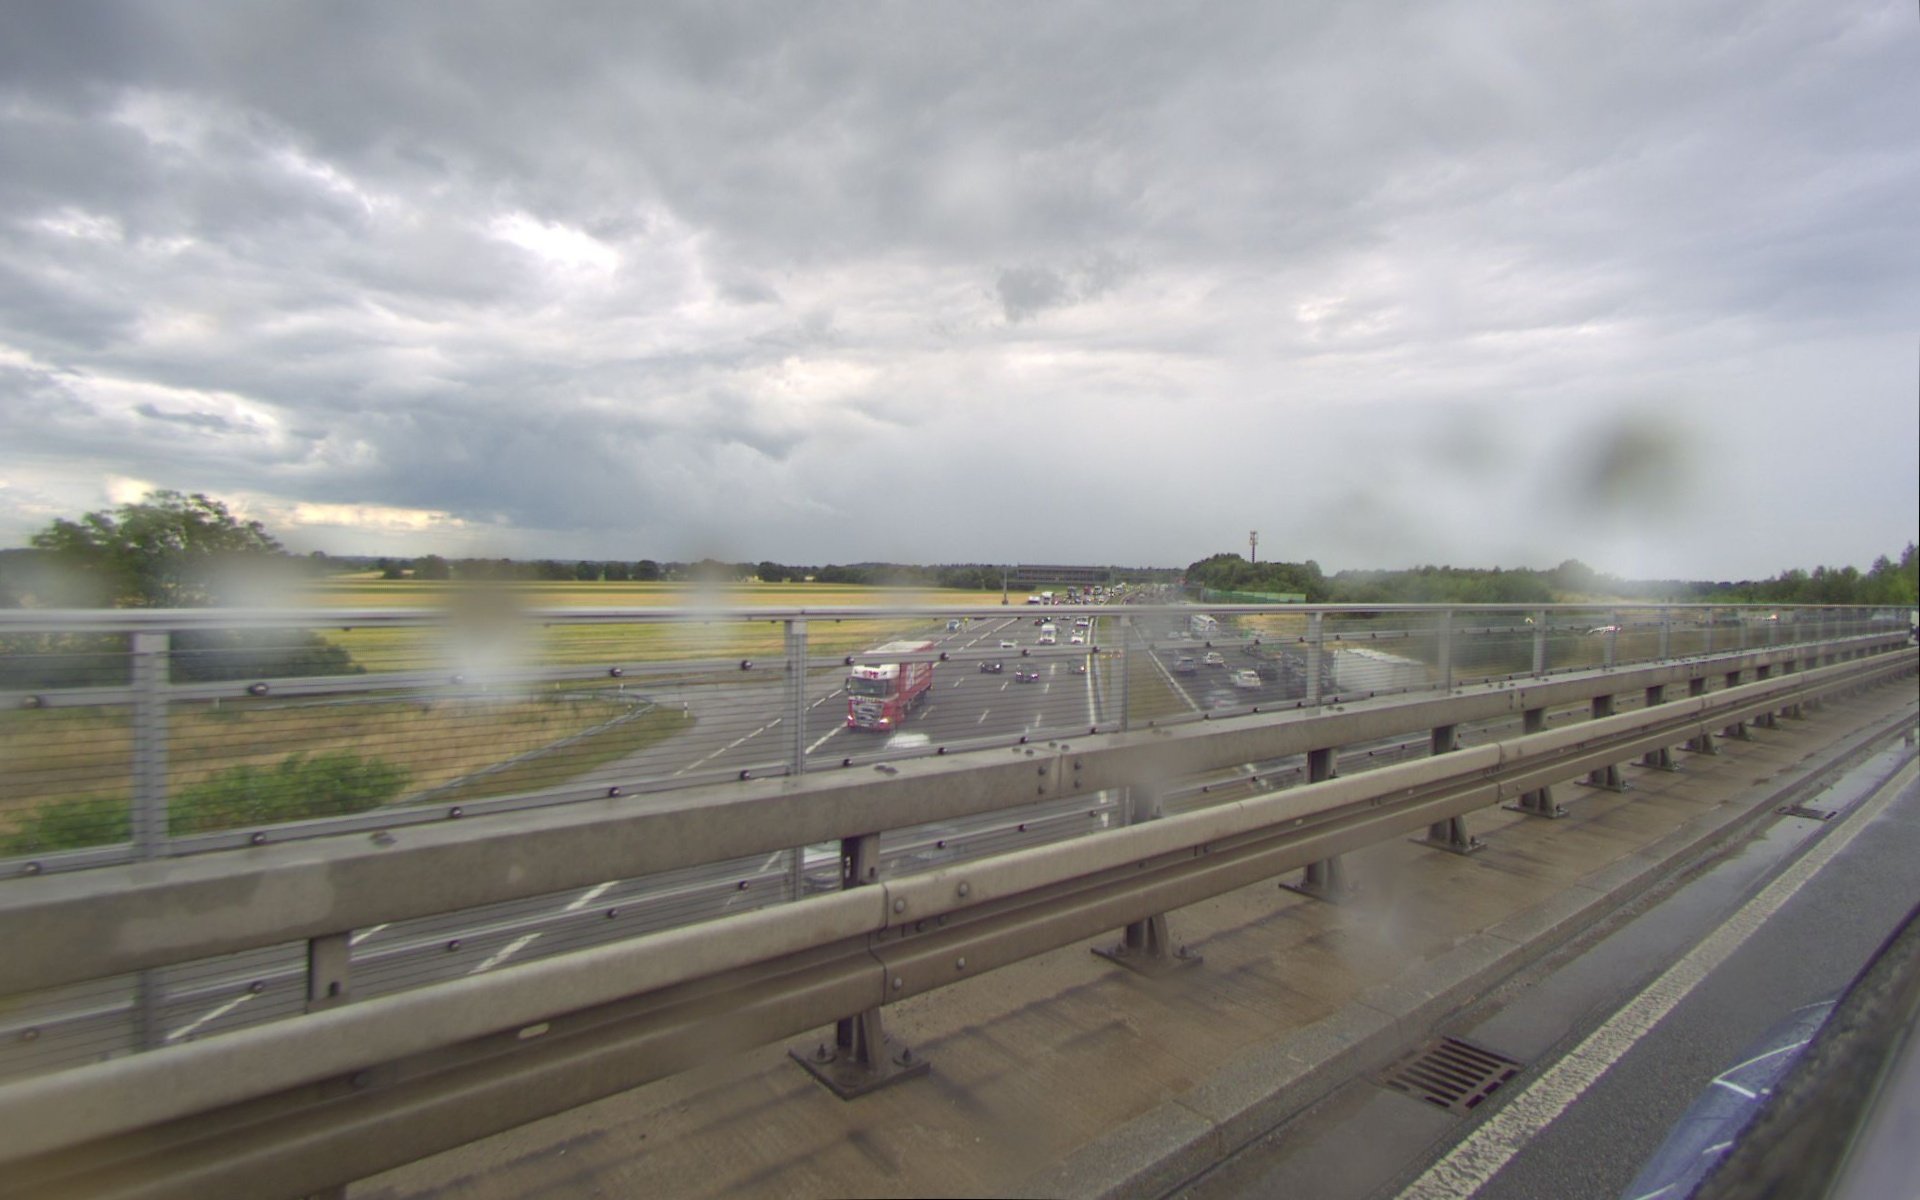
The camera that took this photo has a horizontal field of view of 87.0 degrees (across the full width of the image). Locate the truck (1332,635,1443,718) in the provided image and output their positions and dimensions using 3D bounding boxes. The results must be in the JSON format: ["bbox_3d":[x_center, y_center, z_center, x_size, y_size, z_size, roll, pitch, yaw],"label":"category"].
[{"bbox_3d":[30.000,5.129,72.036,3.545,4.594,15.590,0,0,9],"label":"truck"}]

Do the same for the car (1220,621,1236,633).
[{"bbox_3d":[42.508,4.317,160.644,1.826,1.797,4.713,0,0,8],"label":"car"}]

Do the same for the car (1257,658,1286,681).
[{"bbox_3d":[28.236,6.316,91.880,1.826,1.690,4.713,0,0,8],"label":"car"}]

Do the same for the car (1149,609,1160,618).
[{"bbox_3d":[39.626,2.765,206.410,1.826,1.797,4.713,0,0,8],"label":"car"}]

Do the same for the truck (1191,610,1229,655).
[{"bbox_3d":[34.406,4.297,139.800,3.241,5.511,15.597,0,0,7],"label":"truck"}]

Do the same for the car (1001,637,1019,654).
[{"bbox_3d":[5.795,5.263,116.800,1.784,1.690,4.714,0,0,8],"label":"car"}]

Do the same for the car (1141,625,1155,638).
[{"bbox_3d":[27.171,4.550,146.606,1.826,1.797,4.713,0,0,8],"label":"car"}]

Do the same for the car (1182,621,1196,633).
[{"bbox_3d":[36.888,4.333,162.969,1.826,1.797,4.713,0,0,8],"label":"car"}]

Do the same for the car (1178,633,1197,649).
[{"bbox_3d":[28.106,5.037,125.106,1.826,1.797,4.713,0,0,8],"label":"car"}]

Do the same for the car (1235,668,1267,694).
[{"bbox_3d":[23.646,6.535,82.325,1.826,1.690,4.713,0,0,8],"label":"car"}]

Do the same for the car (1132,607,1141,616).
[{"bbox_3d":[39.227,2.586,224.974,1.826,1.797,4.713,0,0,8],"label":"car"}]

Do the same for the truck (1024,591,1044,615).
[{"bbox_3d":[16.206,0.533,220.824,2.750,4.961,12.713,0,0,11],"label":"truck"}]

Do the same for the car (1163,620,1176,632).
[{"bbox_3d":[35.021,4.289,169.155,1.826,1.797,4.713,0,0,8],"label":"car"}]

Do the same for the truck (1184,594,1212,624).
[{"bbox_3d":[44.914,1.568,191.436,3.434,5.420,15.597,0,0,7],"label":"truck"}]

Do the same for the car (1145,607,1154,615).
[{"bbox_3d":[44.188,2.604,236.582,1.826,1.797,4.713,0,0,8],"label":"car"}]

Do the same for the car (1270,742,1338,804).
[{"bbox_3d":[14.318,7.153,42.337,1.826,1.690,4.713,0,0,8],"label":"car"}]

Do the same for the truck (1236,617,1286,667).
[{"bbox_3d":[35.463,4.784,119.963,3.241,5.230,15.597,0,0,7],"label":"truck"}]

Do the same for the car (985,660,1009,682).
[{"bbox_3d":[3.436,6.498,92.791,1.784,1.690,4.714,0,0,8],"label":"car"}]

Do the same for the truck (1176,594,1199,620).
[{"bbox_3d":[48.672,1.398,216.958,3.434,5.420,15.597,0,0,7],"label":"truck"}]

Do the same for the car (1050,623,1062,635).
[{"bbox_3d":[15.069,4.500,158.415,1.784,1.690,4.714,0,0,8],"label":"car"}]

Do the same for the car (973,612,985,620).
[{"bbox_3d":[3.604,2.987,188.619,1.783,1.454,4.715,0,0,7],"label":"car"}]

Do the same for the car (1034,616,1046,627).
[{"bbox_3d":[14.013,3.784,177.574,1.826,1.690,4.713,0,0,8],"label":"car"}]

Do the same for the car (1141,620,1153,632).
[{"bbox_3d":[30.810,4.334,166.780,1.826,1.797,4.713,0,0,8],"label":"car"}]

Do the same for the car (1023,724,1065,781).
[{"bbox_3d":[3.924,6.973,46.812,1.783,1.870,4.715,0,0,7],"label":"car"}]

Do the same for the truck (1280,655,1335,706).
[{"bbox_3d":[25.993,5.909,76.179,2.175,3.003,9.287,0,0,8],"label":"truck"}]

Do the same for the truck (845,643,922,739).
[{"bbox_3d":[-4.358,5.177,60.227,2.641,4.684,9.733,0,0,7],"label":"truck"}]

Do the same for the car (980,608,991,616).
[{"bbox_3d":[5.101,2.379,201.477,1.783,1.454,4.715,0,0,7],"label":"car"}]

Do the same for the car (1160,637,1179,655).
[{"bbox_3d":[23.593,5.178,114.116,1.826,1.690,4.713,0,0,8],"label":"car"}]

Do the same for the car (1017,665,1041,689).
[{"bbox_3d":[5.970,6.597,87.205,1.784,1.690,4.714,0,0,8],"label":"car"}]

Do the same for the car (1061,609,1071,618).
[{"bbox_3d":[21.509,2.686,205.427,1.826,1.690,4.713,0,0,8],"label":"car"}]

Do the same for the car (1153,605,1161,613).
[{"bbox_3d":[47.869,2.227,246.111,1.826,1.797,4.713,0,0,8],"label":"car"}]

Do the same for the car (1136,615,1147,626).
[{"bbox_3d":[32.431,3.588,180.697,1.826,1.797,4.713,0,0,8],"label":"car"}]

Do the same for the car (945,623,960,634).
[{"bbox_3d":[-1.130,4.233,152.320,1.783,1.454,4.715,0,0,7],"label":"car"}]

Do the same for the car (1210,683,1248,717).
[{"bbox_3d":[17.613,6.515,66.500,1.826,1.690,4.713,0,0,8],"label":"car"}]

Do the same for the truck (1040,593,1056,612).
[{"bbox_3d":[22.782,0.677,262.213,2.750,4.675,12.713,0,0,11],"label":"truck"}]

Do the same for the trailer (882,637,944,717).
[{"bbox_3d":[-3.102,5.099,69.927,2.641,4.687,9.888,0,0,7],"label":"trailer"}]

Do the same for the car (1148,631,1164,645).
[{"bbox_3d":[26.153,5.008,134.860,1.826,1.690,4.713,0,0,8],"label":"car"}]

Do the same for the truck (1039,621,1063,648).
[{"bbox_3d":[11.857,4.404,131.160,2.553,3.219,8.376,0,0,8],"label":"truck"}]

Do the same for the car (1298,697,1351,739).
[{"bbox_3d":[20.250,6.521,56.347,1.826,1.690,4.713,0,0,8],"label":"car"}]

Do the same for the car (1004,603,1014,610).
[{"bbox_3d":[10.790,1.420,222.984,1.783,1.454,4.715,0,0,7],"label":"car"}]

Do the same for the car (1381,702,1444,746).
[{"bbox_3d":[23.904,6.533,53.656,1.826,1.690,4.713,0,0,8],"label":"car"}]

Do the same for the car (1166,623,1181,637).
[{"bbox_3d":[31.812,4.482,151.131,1.826,1.797,4.713,0,0,8],"label":"car"}]

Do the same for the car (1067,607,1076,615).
[{"bbox_3d":[24.787,2.358,224.371,1.826,1.690,4.713,0,0,8],"label":"car"}]

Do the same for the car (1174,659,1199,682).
[{"bbox_3d":[20.549,6.392,91.770,1.826,1.690,4.713,0,0,8],"label":"car"}]

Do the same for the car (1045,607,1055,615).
[{"bbox_3d":[19.471,2.386,218.549,1.826,1.690,4.713,0,0,8],"label":"car"}]

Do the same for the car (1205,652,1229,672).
[{"bbox_3d":[26.088,6.266,102.983,1.826,1.690,4.713,0,0,8],"label":"car"}]

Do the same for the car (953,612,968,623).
[{"bbox_3d":[0.046,2.822,165.752,1.826,1.690,4.713,0,0,8],"label":"car"}]

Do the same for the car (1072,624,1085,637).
[{"bbox_3d":[17.759,4.559,151.964,1.826,1.690,4.713,0,0,8],"label":"car"}]

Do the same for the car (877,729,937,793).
[{"bbox_3d":[-2.197,6.772,43.032,1.783,1.908,4.715,0,0,7],"label":"car"}]
